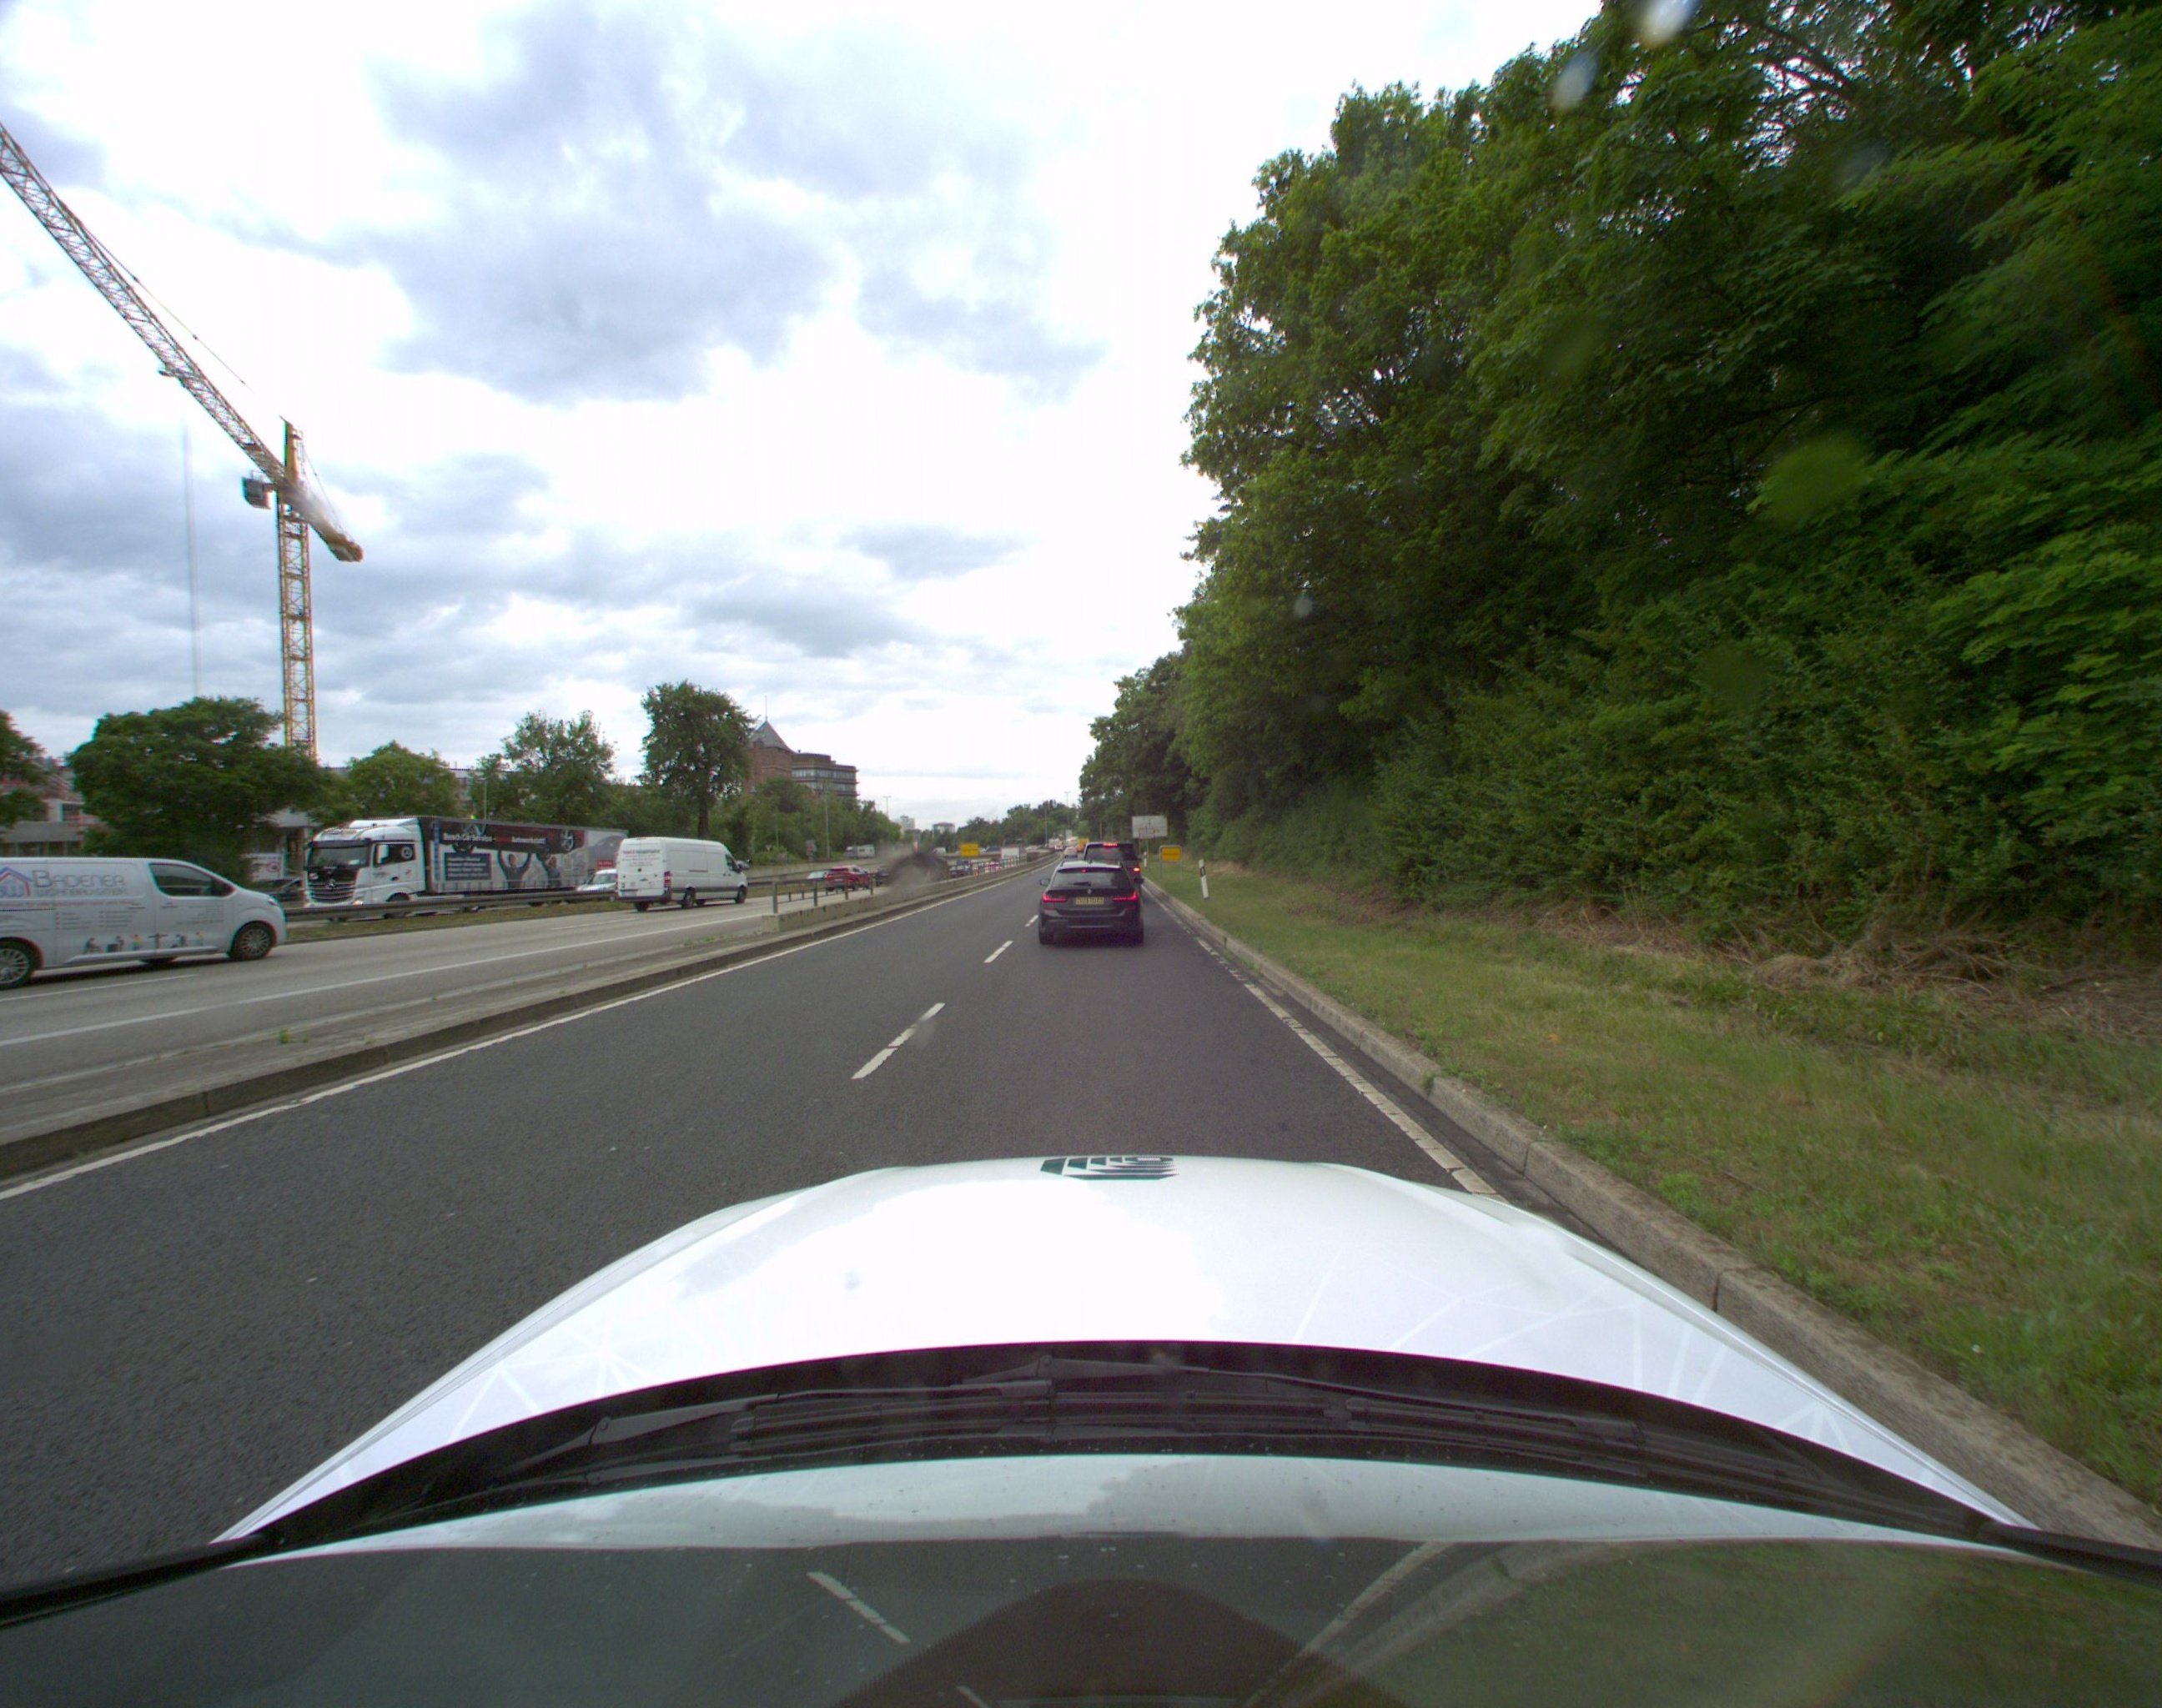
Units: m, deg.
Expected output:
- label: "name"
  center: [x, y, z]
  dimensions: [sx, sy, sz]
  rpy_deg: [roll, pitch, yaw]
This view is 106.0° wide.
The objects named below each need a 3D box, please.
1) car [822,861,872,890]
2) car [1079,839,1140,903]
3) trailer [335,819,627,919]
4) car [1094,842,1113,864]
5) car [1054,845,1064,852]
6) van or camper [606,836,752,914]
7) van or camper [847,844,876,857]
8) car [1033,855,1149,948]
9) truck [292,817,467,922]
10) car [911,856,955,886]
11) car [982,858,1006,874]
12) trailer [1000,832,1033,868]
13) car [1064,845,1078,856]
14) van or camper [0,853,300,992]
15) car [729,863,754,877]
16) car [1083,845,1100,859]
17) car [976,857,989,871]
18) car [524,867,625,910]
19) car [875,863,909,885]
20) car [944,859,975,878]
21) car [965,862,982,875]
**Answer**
- label: "car"
  center: [-14.890, 1.364, 52.097]
  dimensions: [1.884, 1.681, 4.306]
  rpy_deg: [-2, 0, 0]
- label: "car"
  center: [0.921, 0.507, 26.322]
  dimensions: [1.789, 1.872, 4.001]
  rpy_deg: [-1, 0, 2]
- label: "trailer"
  center: [-27.243, 0.593, 38.764]
  dimensions: [2.581, 3.758, 14.731]
  rpy_deg: [-2, 0, 2]
- label: "car"
  center: [1.735, -0.074, 62.691]
  dimensions: [1.447, 1.540, 3.226]
  rpy_deg: [-2, 0, 2]
- label: "car"
  center: [-5.130, -1.211, 190.257]
  dimensions: [1.929, 1.596, 3.868]
  rpy_deg: [-2, 0, -7]
- label: "van or camper"
  center: [-15.344, 0.738, 31.703]
  dimensions: [2.042, 2.621, 6.957]
  rpy_deg: [-2, 0, 1]
- label: "van or camper"
  center: [-45.934, -0.683, 170.303]
  dimensions: [1.897, 2.637, 5.696]
  rpy_deg: [-1, 0, 44]
- label: "car"
  center: [0.159, 0.770, 15.162]
  dimensions: [1.840, 1.467, 3.999]
  rpy_deg: [-1, 0, 0]
- label: "truck"
  center: [-27.445, 0.575, 32.139]
  dimensions: [2.583, 3.768, 4.779]
  rpy_deg: [-2, 0, 1]
- label: "car"
  center: [-9.781, 1.106, 54.292]
  dimensions: [1.987, 1.851, 4.811]
  rpy_deg: [-1, 0, 0]
- label: "car"
  center: [-9.439, 1.301, 88.860]
  dimensions: [1.938, 1.692, 4.509]
  rpy_deg: [-2, 0, 2]
- label: "trailer"
  center: [-8.981, -0.521, 115.969]
  dimensions: [3.121, 4.725, 14.562]
  rpy_deg: [-1, 0, 1]
- label: "car"
  center: [-1.372, -0.519, 114.723]
  dimensions: [1.852, 1.464, 4.885]
  rpy_deg: [-1, 0, 1]
- label: "van or camper"
  center: [-15.852, 0.971, 13.020]
  dimensions: [1.913, 1.920, 4.853]
  rpy_deg: [-2, 0, 2]
- label: "car"
  center: [-36.269, 1.700, 87.042]
  dimensions: [1.329, 1.375, 3.173]
  rpy_deg: [-2, 0, 0]
- label: "car"
  center: [1.135, -0.183, 88.006]
  dimensions: [1.852, 1.464, 4.534]
  rpy_deg: [-1, 0, 1]
- label: "car"
  center: [-14.853, 1.549, 122.996]
  dimensions: [1.438, 2.044, 3.682]
  rpy_deg: [-2, 0, 2]
- label: "car"
  center: [-22.944, 1.516, 37.079]
  dimensions: [1.986, 1.765, 4.001]
  rpy_deg: [-2, 0, 2]
- label: "car"
  center: [-14.636, 1.492, 63.256]
  dimensions: [1.682, 1.608, 4.008]
  rpy_deg: [0, 0, 0]
- label: "car"
  center: [-10.089, 1.176, 67.919]
  dimensions: [1.706, 1.457, 4.669]
  rpy_deg: [-1, 0, 2]
- label: "car"
  center: [-14.540, 1.952, 110.300]
  dimensions: [1.682, 1.632, 3.734]
  rpy_deg: [0, 0, 0]
